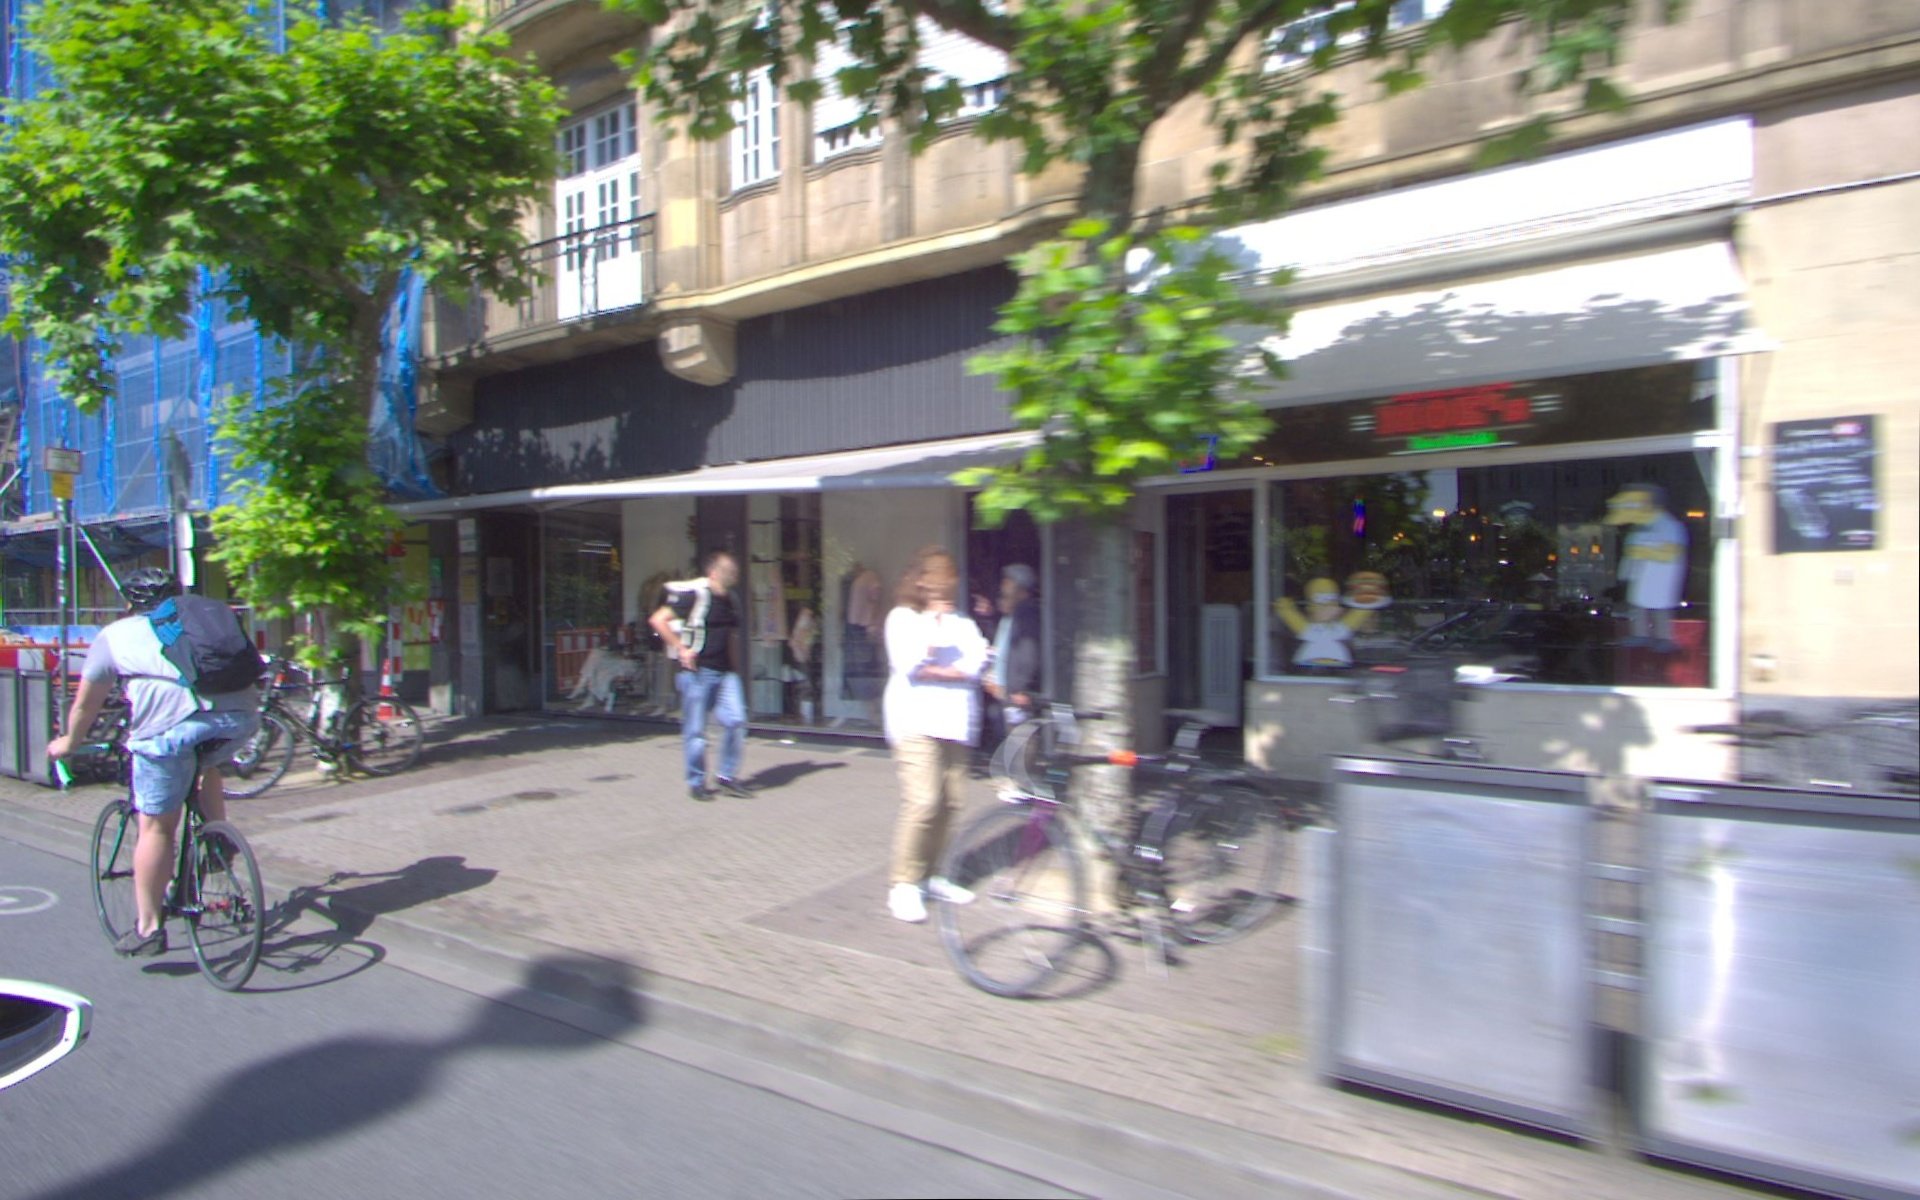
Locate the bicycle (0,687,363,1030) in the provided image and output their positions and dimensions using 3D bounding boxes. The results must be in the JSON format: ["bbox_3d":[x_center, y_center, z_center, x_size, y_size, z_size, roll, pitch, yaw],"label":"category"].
[{"bbox_3d":[-3.572,0.980,4.379,2.099,1.106,0.733,-1,-2,31],"label":"bicycle"}]

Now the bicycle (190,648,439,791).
[{"bbox_3d":[-5.387,0.949,8.479,0.475,1.031,1.750,0,-1,30],"label":"bicycle"}]

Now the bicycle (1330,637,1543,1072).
[{"bbox_3d":[1.836,0.752,3.736,0.570,1.196,1.750,0,-1,30],"label":"bicycle"}]

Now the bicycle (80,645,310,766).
[{"bbox_3d":[-7.431,0.982,9.817,0.475,1.031,1.750,0,-1,30],"label":"bicycle"}]

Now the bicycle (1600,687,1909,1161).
[{"bbox_3d":[2.509,0.866,3.337,0.549,1.031,1.750,0,-1,30],"label":"bicycle"}]

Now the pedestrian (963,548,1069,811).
[{"bbox_3d":[0.375,0.516,6.849,0.491,1.705,0.535,-2,1,-23],"label":"pedestrian"}]

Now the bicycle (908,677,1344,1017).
[{"bbox_3d":[0.706,0.870,4.037,1.734,1.031,0.654,0,0,-31],"label":"bicycle"}]

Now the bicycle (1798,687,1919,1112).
[{"bbox_3d":[3.082,0.850,2.998,0.578,1.031,1.750,0,0,30],"label":"bicycle"}]

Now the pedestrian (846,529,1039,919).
[{"bbox_3d":[-0.092,0.548,4.825,0.650,1.705,0.649,-1,0,-36],"label":"pedestrian"}]

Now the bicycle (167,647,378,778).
[{"bbox_3d":[-6.218,0.970,9.183,0.474,1.031,1.757,0,-1,12],"label":"bicycle"}]

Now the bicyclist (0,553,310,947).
[{"bbox_3d":[-3.514,0.585,4.369,1.126,1.481,0.687,0,-2,31],"label":"bicyclist"}]

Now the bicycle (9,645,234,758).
[{"bbox_3d":[-8.685,1.010,10.455,0.475,1.031,1.750,0,-1,30],"label":"bicycle"}]

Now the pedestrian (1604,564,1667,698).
[{"bbox_3d":[5.424,0.253,8.057,0.400,1.036,0.454,0,-2,32],"label":"pedestrian"}]

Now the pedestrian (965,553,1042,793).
[{"bbox_3d":[0.317,0.519,7.400,0.375,1.705,0.475,-2,1,-23],"label":"pedestrian"}]

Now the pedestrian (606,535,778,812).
[{"bbox_3d":[-1.960,0.498,7.338,0.881,1.873,0.810,-1,1,40],"label":"pedestrian"}]

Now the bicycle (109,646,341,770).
[{"bbox_3d":[-6.945,0.976,9.564,0.475,1.031,1.750,0,-1,30],"label":"bicycle"}]
